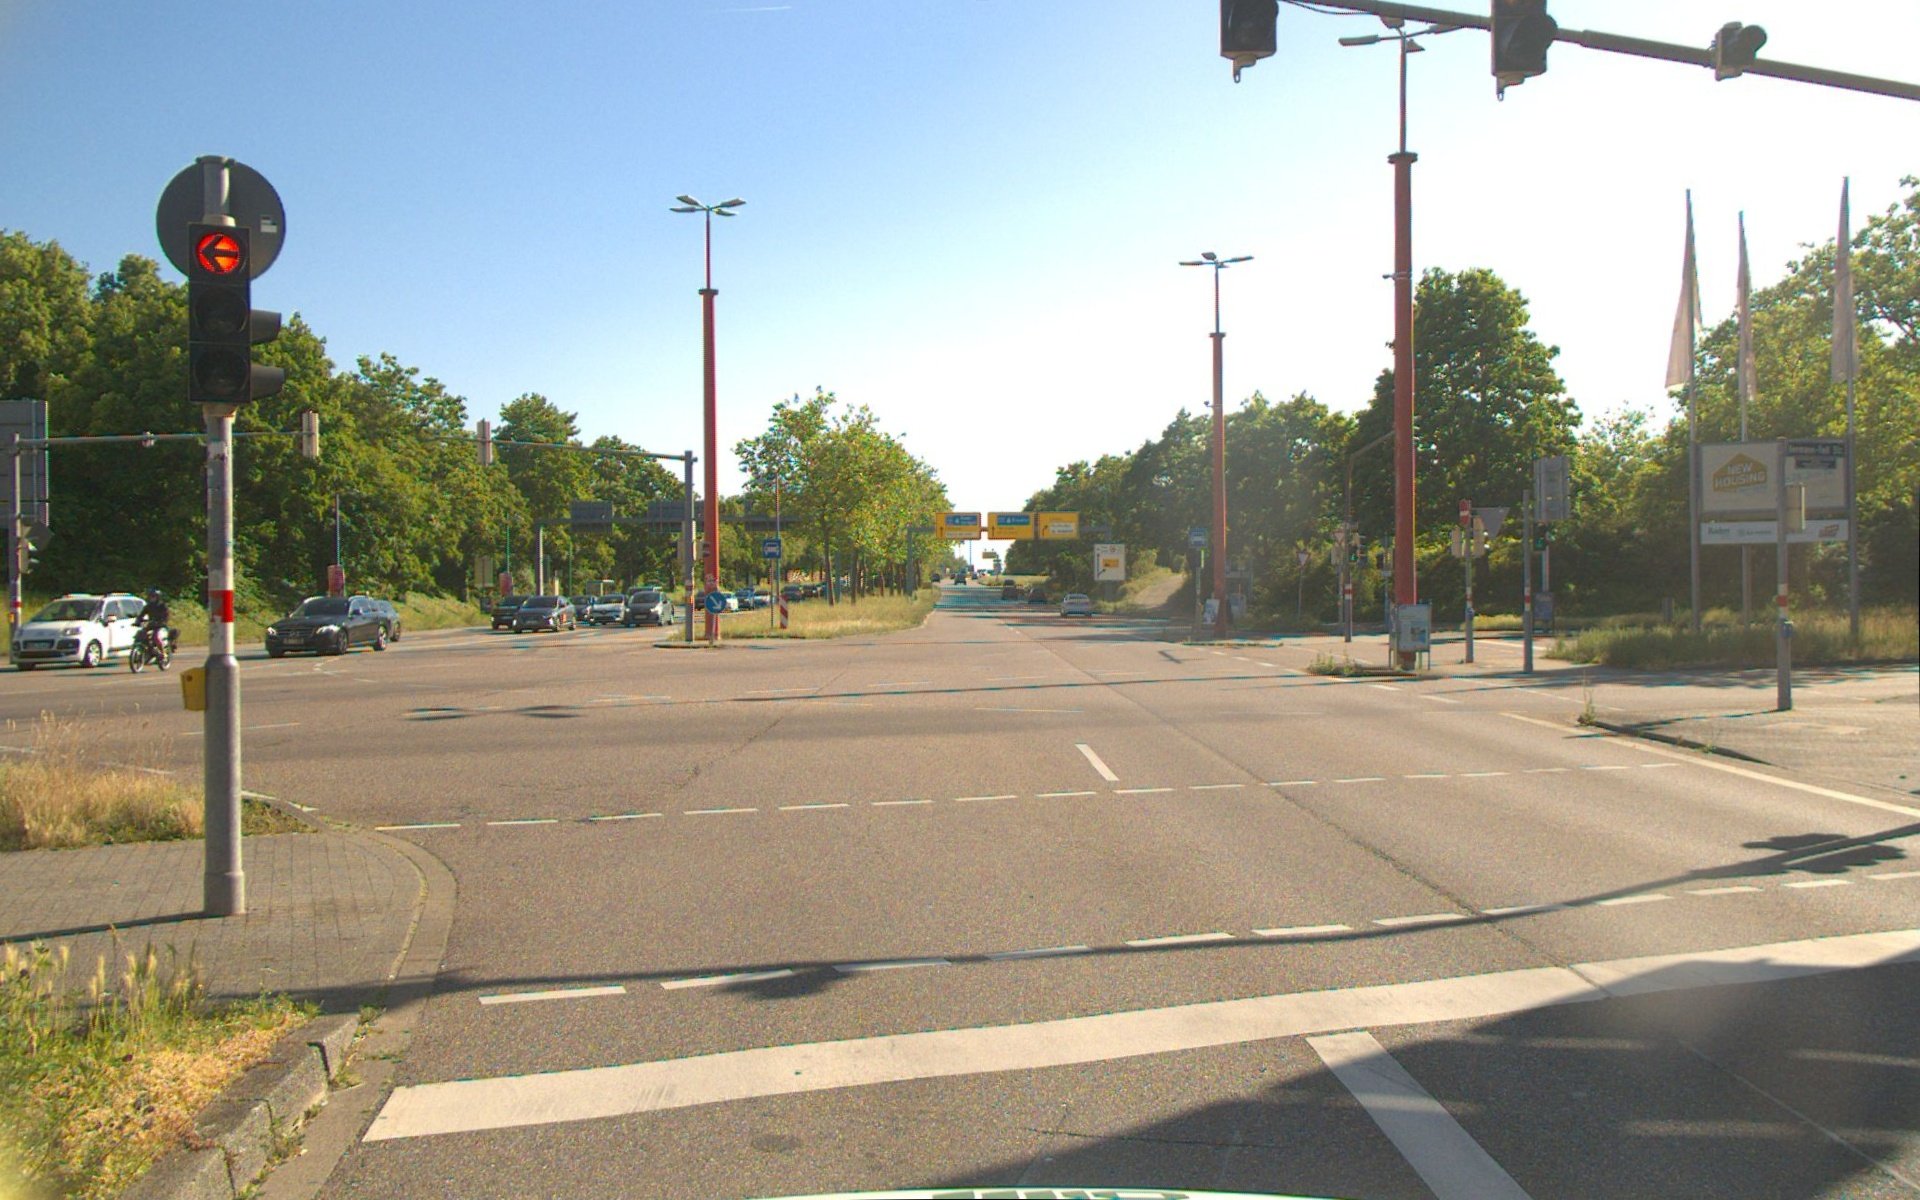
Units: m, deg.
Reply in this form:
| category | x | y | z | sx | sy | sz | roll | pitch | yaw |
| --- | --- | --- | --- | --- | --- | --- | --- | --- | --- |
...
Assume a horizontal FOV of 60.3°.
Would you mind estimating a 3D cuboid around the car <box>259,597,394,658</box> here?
| category | x | y | z | sx | sy | sz | roll | pitch | yaw |
| --- | --- | --- | --- | --- | --- | --- | --- | --- | --- |
| car | -16.440 | 0.686 | 43.182 | 1.838 | 1.511 | 4.603 | 1 | 0 | -2 |

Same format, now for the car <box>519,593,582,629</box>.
| category | x | y | z | sx | sy | sz | roll | pitch | yaw |
| --- | --- | --- | --- | --- | --- | --- | --- | --- | --- |
| car | -16.619 | 0.429 | 67.296 | 1.516 | 1.401 | 4.262 | 0 | 0 | -1 |

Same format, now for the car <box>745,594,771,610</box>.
| category | x | y | z | sx | sy | sz | roll | pitch | yaw |
| --- | --- | --- | --- | --- | --- | --- | --- | --- | --- |
| car | -17.089 | 0.133 | 139.979 | 1.964 | 1.330 | 3.998 | 0 | 0 | -3 |

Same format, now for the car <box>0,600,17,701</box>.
| category | x | y | z | sx | sy | sz | roll | pitch | yaw |
| --- | --- | --- | --- | --- | --- | --- | --- | --- | --- |
| car | -16.499 | 0.836 | 24.874 | 1.952 | 1.622 | 4.465 | -1 | 0 | 1 |

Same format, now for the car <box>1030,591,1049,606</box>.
| category | x | y | z | sx | sy | sz | roll | pitch | yaw |
| --- | --- | --- | --- | --- | --- | --- | --- | --- | --- |
| car | 7.590 | -0.150 | 157.683 | 1.702 | 1.365 | 3.081 | 0 | 0 | 0 |

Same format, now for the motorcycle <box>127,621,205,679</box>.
| category | x | y | z | sx | sy | sz | roll | pitch | yaw |
| --- | --- | --- | --- | --- | --- | --- | --- | --- | --- |
| motorcycle | -16.688 | 1.039 | 34.825 | 0.412 | 1.151 | 2.096 | 1 | 0 | 6 |

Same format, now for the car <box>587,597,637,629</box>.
| category | x | y | z | sx | sy | sz | roll | pitch | yaw |
| --- | --- | --- | --- | --- | --- | --- | --- | --- | --- |
| car | -16.780 | 0.625 | 79.925 | 1.572 | 1.485 | 3.950 | 0 | 0 | 0 |

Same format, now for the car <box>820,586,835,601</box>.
| category | x | y | z | sx | sy | sz | roll | pitch | yaw |
| --- | --- | --- | --- | --- | --- | --- | --- | --- | --- |
| car | -16.166 | -0.816 | 202.083 | 1.574 | 1.761 | 3.789 | 1 | 0 | 0 |

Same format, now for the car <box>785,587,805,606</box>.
| category | x | y | z | sx | sy | sz | roll | pitch | yaw |
| --- | --- | --- | --- | --- | --- | --- | --- | --- | --- |
| car | -16.354 | -0.361 | 164.223 | 1.592 | 1.769 | 4.000 | 0 | 0 | 0 |

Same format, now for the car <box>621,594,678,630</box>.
| category | x | y | z | sx | sy | sz | roll | pitch | yaw |
| --- | --- | --- | --- | --- | --- | --- | --- | --- | --- |
| car | -13.458 | 0.523 | 71.964 | 1.666 | 1.446 | 4.000 | 3 | 0 | 0 |

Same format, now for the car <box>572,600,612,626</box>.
| category | x | y | z | sx | sy | sz | roll | pitch | yaw |
| --- | --- | --- | --- | --- | --- | --- | --- | --- | --- |
| car | -19.375 | 0.668 | 87.169 | 1.424 | 1.296 | 3.611 | 1 | 0 | -2 |

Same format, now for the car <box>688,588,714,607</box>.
| category | x | y | z | sx | sy | sz | roll | pitch | yaw |
| --- | --- | --- | --- | --- | --- | --- | --- | --- | --- |
| car | -20.857 | -0.176 | 133.303 | 1.595 | 1.476 | 3.434 | 1 | 0 | -1 |

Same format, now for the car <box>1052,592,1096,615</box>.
| category | x | y | z | sx | sy | sz | roll | pitch | yaw |
| --- | --- | --- | --- | --- | --- | --- | --- | --- | --- |
| car | 7.063 | 0.192 | 103.048 | 2.015 | 1.395 | 4.386 | 0 | 0 | -6 |

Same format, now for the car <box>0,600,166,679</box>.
| category | x | y | z | sx | sy | sz | roll | pitch | yaw |
| --- | --- | --- | --- | --- | --- | --- | --- | --- | --- |
| car | -20.432 | 0.879 | 38.672 | 1.764 | 1.737 | 4.059 | -1 | 0 | 0 |

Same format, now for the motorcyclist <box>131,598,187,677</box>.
| category | x | y | z | sx | sy | sz | roll | pitch | yaw |
| --- | --- | --- | --- | --- | --- | --- | --- | --- | --- |
| motorcyclist | -16.744 | 0.780 | 34.601 | 0.817 | 1.627 | 0.641 | 1 | 0 | 6 |

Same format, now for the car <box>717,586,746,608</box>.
| category | x | y | z | sx | sy | sz | roll | pitch | yaw |
| --- | --- | --- | --- | --- | --- | --- | --- | --- | --- |
| car | -17.718 | -0.223 | 128.094 | 1.669 | 1.586 | 3.803 | 1 | 0 | 0 |

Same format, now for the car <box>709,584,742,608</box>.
| category | x | y | z | sx | sy | sz | roll | pitch | yaw |
| --- | --- | --- | --- | --- | --- | --- | --- | --- | --- |
| car | -16.524 | -0.268 | 116.768 | 1.669 | 1.624 | 4.000 | 1 | 0 | 1 |

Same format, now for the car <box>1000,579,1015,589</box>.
| category | x | y | z | sx | sy | sz | roll | pitch | yaw |
| --- | --- | --- | --- | --- | --- | --- | --- | --- | --- |
| car | 7.384 | -2.447 | 255.063 | 1.951 | 1.567 | 4.003 | 0 | 0 | 6 |

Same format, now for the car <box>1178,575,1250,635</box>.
| category | x | y | z | sx | sy | sz | roll | pitch | yaw |
| --- | --- | --- | --- | --- | --- | --- | --- | --- | --- |
| car | 8.512 | 0.146 | 55.280 | 1.951 | 1.920 | 4.003 | 0 | 0 | 15 |

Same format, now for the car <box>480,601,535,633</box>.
| category | x | y | z | sx | sy | sz | roll | pitch | yaw |
| --- | --- | --- | --- | --- | --- | --- | --- | --- | --- |
| car | -21.413 | 0.795 | 78.347 | 1.512 | 1.458 | 3.885 | -2 | 0 | 0 |

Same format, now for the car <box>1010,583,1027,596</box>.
| category | x | y | z | sx | sy | sz | roll | pitch | yaw |
| --- | --- | --- | --- | --- | --- | --- | --- | --- | --- |
| car | 7.259 | -1.274 | 205.399 | 1.953 | 1.567 | 4.000 | 1 | 0 | 0 |

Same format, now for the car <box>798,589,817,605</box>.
| category | x | y | z | sx | sy | sz | roll | pitch | yaw |
| --- | --- | --- | --- | --- | --- | --- | --- | --- | --- |
| car | -16.858 | -0.296 | 182.834 | 1.622 | 1.778 | 4.000 | 1 | 0 | 1 |

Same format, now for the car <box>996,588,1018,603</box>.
| category | x | y | z | sx | sy | sz | roll | pitch | yaw |
| --- | --- | --- | --- | --- | --- | --- | --- | --- | --- |
| car | 5.133 | -0.502 | 181.212 | 1.955 | 1.523 | 3.995 | 0 | 0 | -6 |
